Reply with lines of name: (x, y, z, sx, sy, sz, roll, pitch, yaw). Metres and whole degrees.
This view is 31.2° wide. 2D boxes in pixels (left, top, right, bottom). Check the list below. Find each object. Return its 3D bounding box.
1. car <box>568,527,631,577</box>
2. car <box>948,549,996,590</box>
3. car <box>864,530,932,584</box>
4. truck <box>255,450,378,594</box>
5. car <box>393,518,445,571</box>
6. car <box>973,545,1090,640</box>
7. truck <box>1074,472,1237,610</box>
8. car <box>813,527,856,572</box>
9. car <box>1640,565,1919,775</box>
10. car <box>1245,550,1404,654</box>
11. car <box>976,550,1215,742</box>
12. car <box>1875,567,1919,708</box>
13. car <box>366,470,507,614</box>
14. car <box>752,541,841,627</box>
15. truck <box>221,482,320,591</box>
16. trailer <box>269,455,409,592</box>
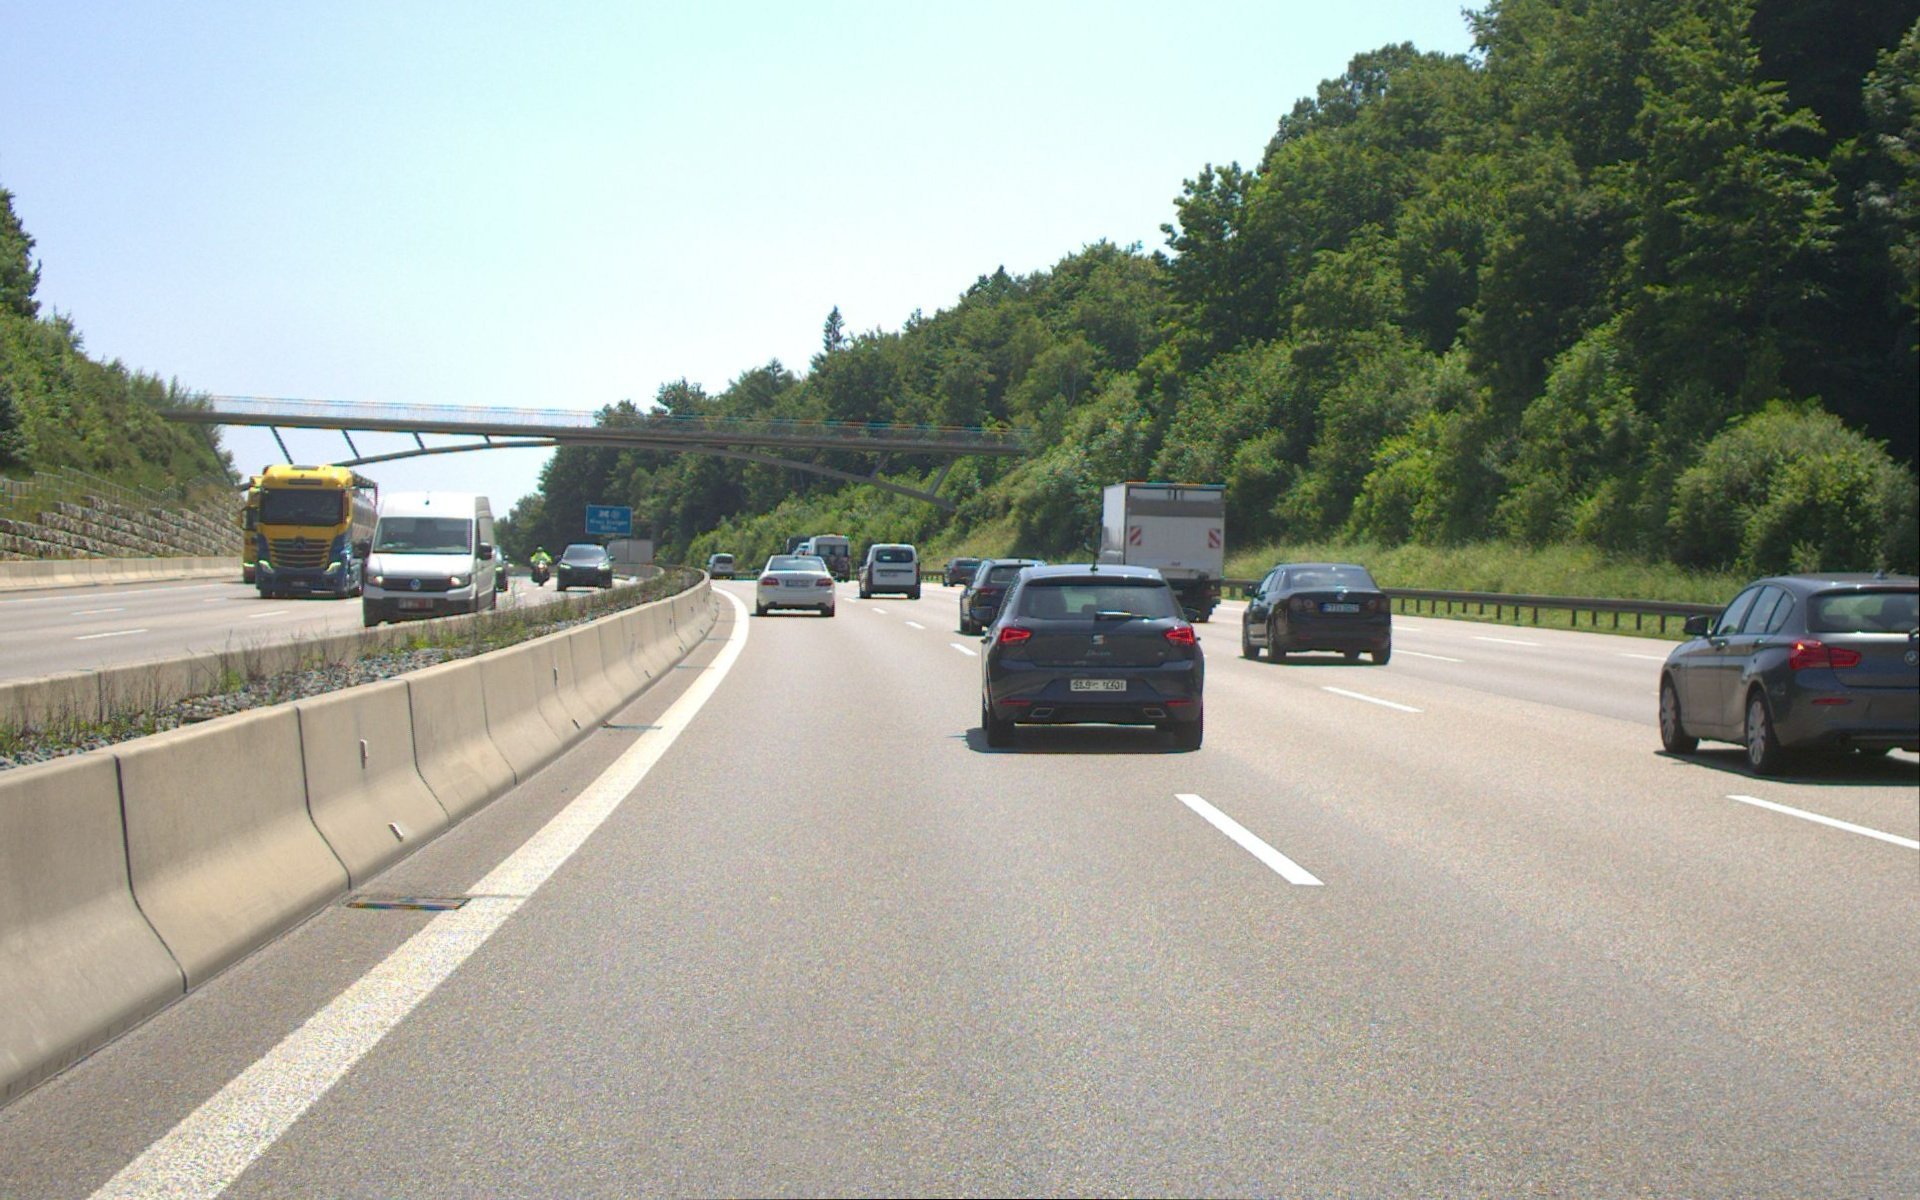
car: (-12.848, -1.722, 122.701, 1.993, 1.699, 4.954, 1, 1, -4)
car: (0.562, -1.499, 165.859, 2.145, 1.851, 4.001, 2, 1, -2)
car: (-2.084, -1.443, 113.937, 2.103, 1.738, 4.688, 1, 1, -3)
truck: (-18.379, -2.208, 98.482, 2.530, 3.926, 6.802, 1, 1, -3)
car: (-22.545, -2.290, 143.328, 1.643, 2.007, 4.000, 2, -1, -2)
car: (1.325, -0.123, 65.567, 1.993, 1.722, 4.149, 1, -1, -2)
truck: (4.646, -1.430, 83.183, 2.985, 3.156, 7.576, 1, 1, -4)
car: (-6.885, -2.759, 187.717, 2.265, 2.363, 4.702, 1, 0, -2)
car: (6.302, 0.456, 25.202, 1.702, 1.391, 4.154, 1, 1, -1)
car: (5.283, -0.010, 50.311, 1.665, 1.403, 4.903, 1, 1, -1)
car: (1.043, 0.328, 28.209, 1.708, 1.428, 4.000, 1, 1, -1)
car: (10.552, 0.404, 34.308, 1.544, 1.439, 4.341, 1, 0, -2)
car: (-9.650, -1.024, 63.676, 2.154, 2.481, 4.702, 1, -1, -4)
car: (-3.883, -0.356, 82.218, 2.012, 1.839, 4.000, 1, -2, -1)
truck: (-26.262, -2.427, 131.194, 2.750, 4.004, 6.753, 1, 1, -3)
trailer: (-18.601, -2.268, 103.659, 2.538, 3.867, 11.697, 1, 1, -2)
